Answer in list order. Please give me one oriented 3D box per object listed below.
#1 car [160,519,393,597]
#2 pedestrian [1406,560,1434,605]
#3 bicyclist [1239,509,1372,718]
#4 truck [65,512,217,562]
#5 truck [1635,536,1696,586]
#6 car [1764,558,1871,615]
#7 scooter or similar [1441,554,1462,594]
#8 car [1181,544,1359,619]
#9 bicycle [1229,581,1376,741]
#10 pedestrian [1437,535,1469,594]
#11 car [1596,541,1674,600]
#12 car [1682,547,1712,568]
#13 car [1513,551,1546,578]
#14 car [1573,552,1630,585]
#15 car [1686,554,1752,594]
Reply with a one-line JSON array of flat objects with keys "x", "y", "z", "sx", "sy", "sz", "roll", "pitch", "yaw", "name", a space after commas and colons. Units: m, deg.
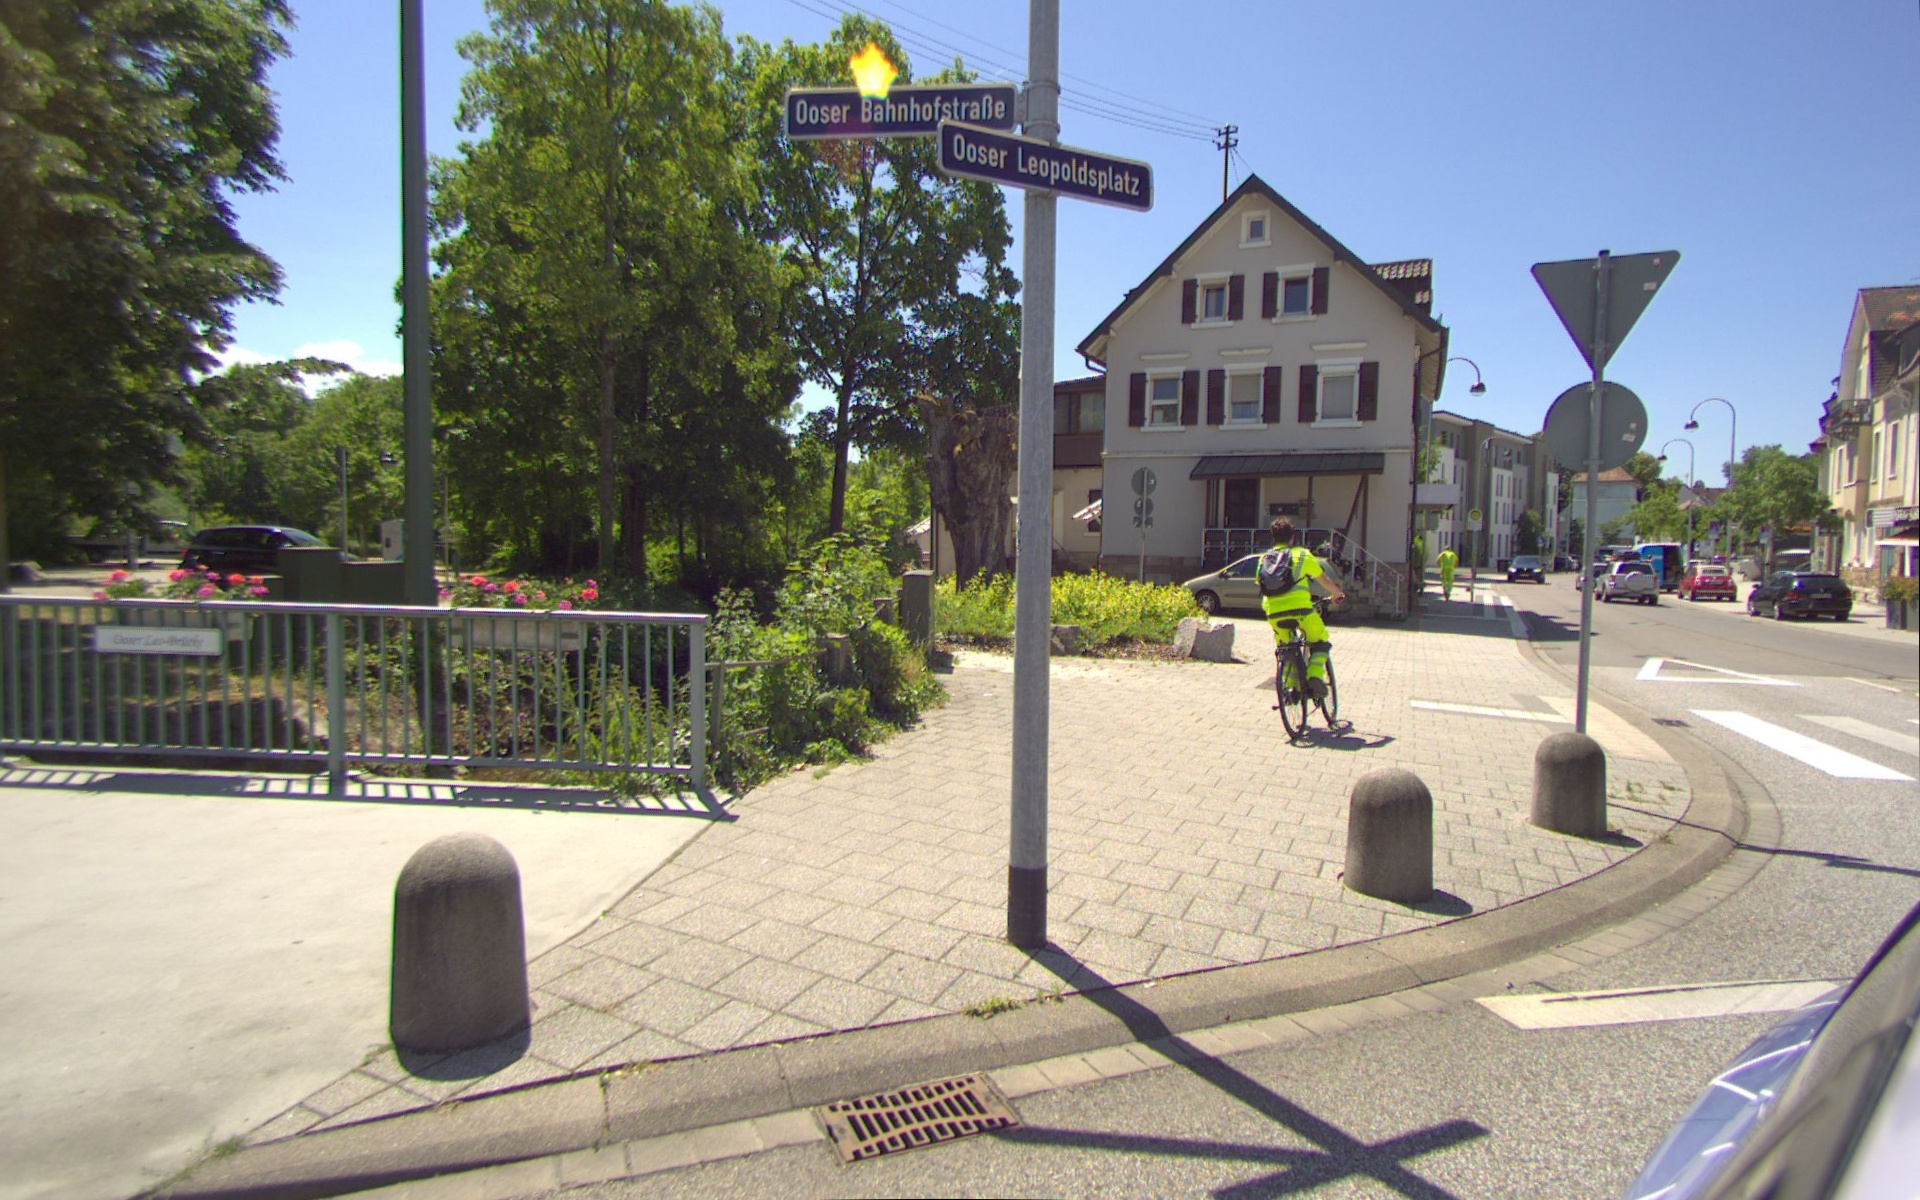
[{"x": -15.229, "y": -0.954, "z": 22.765, "sx": 3.918, "sy": 1.620, "sz": 1.846, "roll": 1, "pitch": 3, "yaw": -8, "name": "car"}, {"x": 13.591, "y": -0.532, "z": 29.902, "sx": 0.677, "sy": 1.301, "sz": 0.577, "roll": 2, "pitch": 3, "yaw": 22, "name": "pedestrian"}, {"x": 2.988, "y": 0.076, "z": 8.722, "sx": 0.804, "sy": 1.654, "sz": 1.051, "roll": 4, "pitch": 3, "yaw": 31, "name": "bicyclist"}, {"x": -43.275, "y": -3.297, "z": 53.720, "sx": 6.102, "sy": 2.473, "sz": 2.264, "roll": -2, "pitch": 2, "yaw": -36, "name": "truck"}, {"x": 35.082, "y": -1.967, "z": 50.433, "sx": 1.944, "sy": 2.398, "sz": 4.297, "roll": 1, "pitch": 3, "yaw": 28, "name": "truck"}, {"x": 26.185, "y": -0.472, "z": 31.030, "sx": 1.668, "sy": 1.565, "sz": 3.909, "roll": 1, "pitch": 3, "yaw": 28, "name": "car"}, {"x": 17.673, "y": -0.945, "z": 36.402, "sx": 0.521, "sy": 1.389, "sz": 1.337, "roll": 2, "pitch": 4, "yaw": 23, "name": "scooter or similar"}, {"x": 7.709, "y": -0.505, "z": 25.225, "sx": 3.962, "sy": 1.615, "sz": 1.778, "roll": 4, "pitch": 3, "yaw": 27, "name": "car"}, {"x": 3.023, "y": 0.458, "z": 8.822, "sx": 0.804, "sy": 1.169, "sz": 1.832, "roll": 4, "pitch": 4, "yaw": 30, "name": "bicycle"}, {"x": 17.725, "y": -1.292, "z": 36.408, "sx": 0.911, "sy": 2.054, "sz": 0.894, "roll": 2, "pitch": 4, "yaw": 23, "name": "pedestrian"}, {"x": 26.755, "y": -1.250, "z": 40.264, "sx": 1.913, "sy": 2.132, "sz": 4.411, "roll": 4, "pitch": 5, "yaw": 26, "name": "car"}, {"x": 57.735, "y": -3.342, "z": 79.308, "sx": 1.676, "sy": 1.565, "sz": 3.544, "roll": 1, "pitch": 3, "yaw": 40, "name": "car"}, {"x": 35.358, "y": -2.215, "z": 62.822, "sx": 1.739, "sy": 1.565, "sz": 3.558, "roll": 1, "pitch": 3, "yaw": 29, "name": "car"}, {"x": 32.264, "y": -1.599, "z": 50.961, "sx": 1.664, "sy": 1.475, "sz": 3.570, "roll": 4, "pitch": 4, "yaw": 21, "name": "car"}, {"x": 32.209, "y": -1.131, "z": 43.054, "sx": 1.668, "sy": 1.565, "sz": 3.560, "roll": 1, "pitch": 3, "yaw": 28, "name": "car"}]
